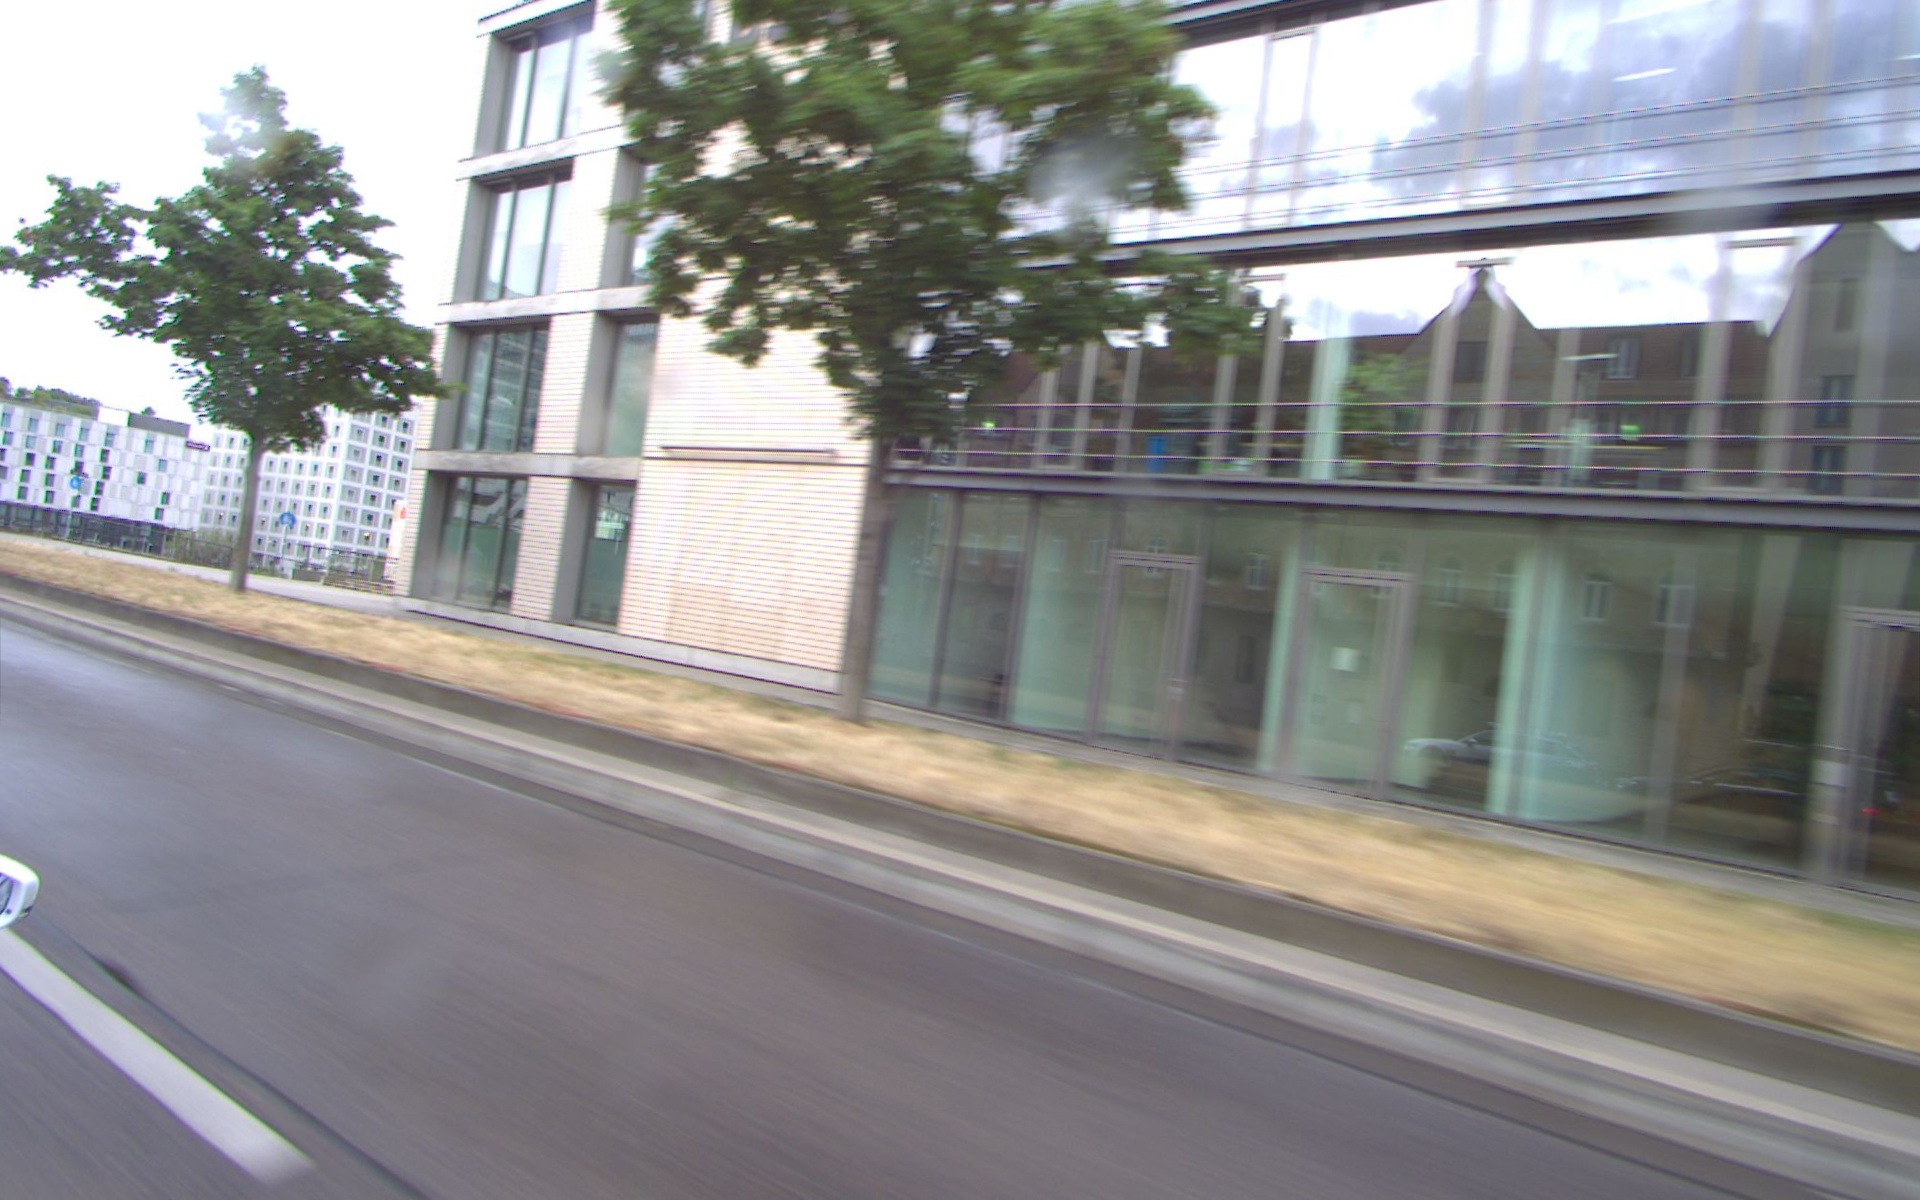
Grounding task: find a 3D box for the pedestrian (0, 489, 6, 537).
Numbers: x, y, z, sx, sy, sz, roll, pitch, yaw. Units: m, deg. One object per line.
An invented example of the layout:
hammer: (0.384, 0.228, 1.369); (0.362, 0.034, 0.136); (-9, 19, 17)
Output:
pedestrian: (-29.527, -2.616, 30.398); (0.662, 1.597, 0.665); (8, 1, -21)
